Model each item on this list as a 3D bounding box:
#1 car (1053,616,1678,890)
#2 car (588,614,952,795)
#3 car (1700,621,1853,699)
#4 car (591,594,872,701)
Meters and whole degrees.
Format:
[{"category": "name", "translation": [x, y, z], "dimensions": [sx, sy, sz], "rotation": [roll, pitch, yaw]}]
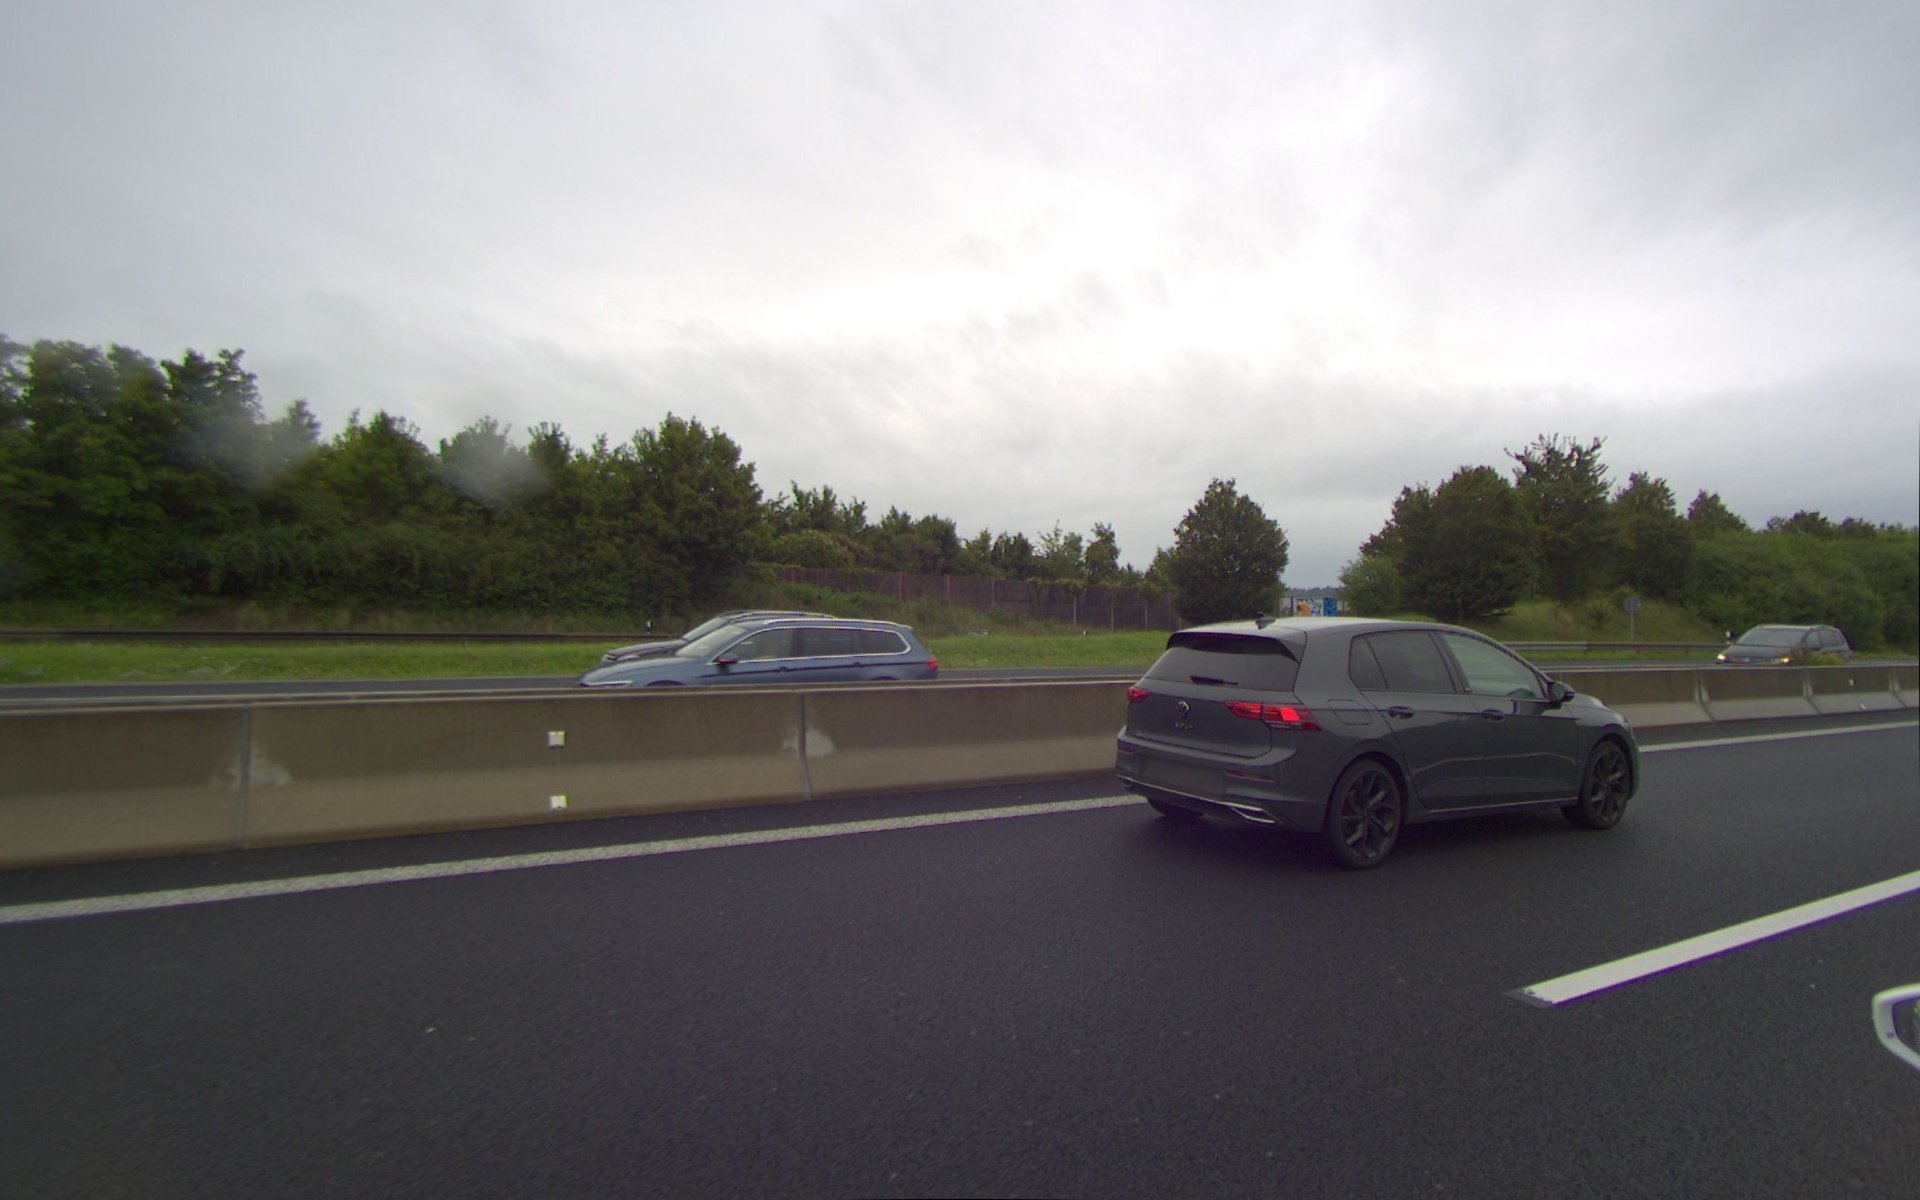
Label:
[{"category": "car", "translation": [3.010, 0.852, 7.219], "dimensions": [4.407, 1.424, 1.891], "rotation": [1, -1, -30]}, {"category": "car", "translation": [-2.387, 1.194, 12.855], "dimensions": [4.126, 1.927, 1.983], "rotation": [2, 0, -32]}, {"category": "car", "translation": [22.364, 1.586, 27.483], "dimensions": [4.126, 1.927, 1.983], "rotation": [2, 0, -32]}, {"category": "car", "translation": [-3.911, 0.765, 17.387], "dimensions": [4.370, 1.636, 1.973], "rotation": [1, -1, -31]}]
